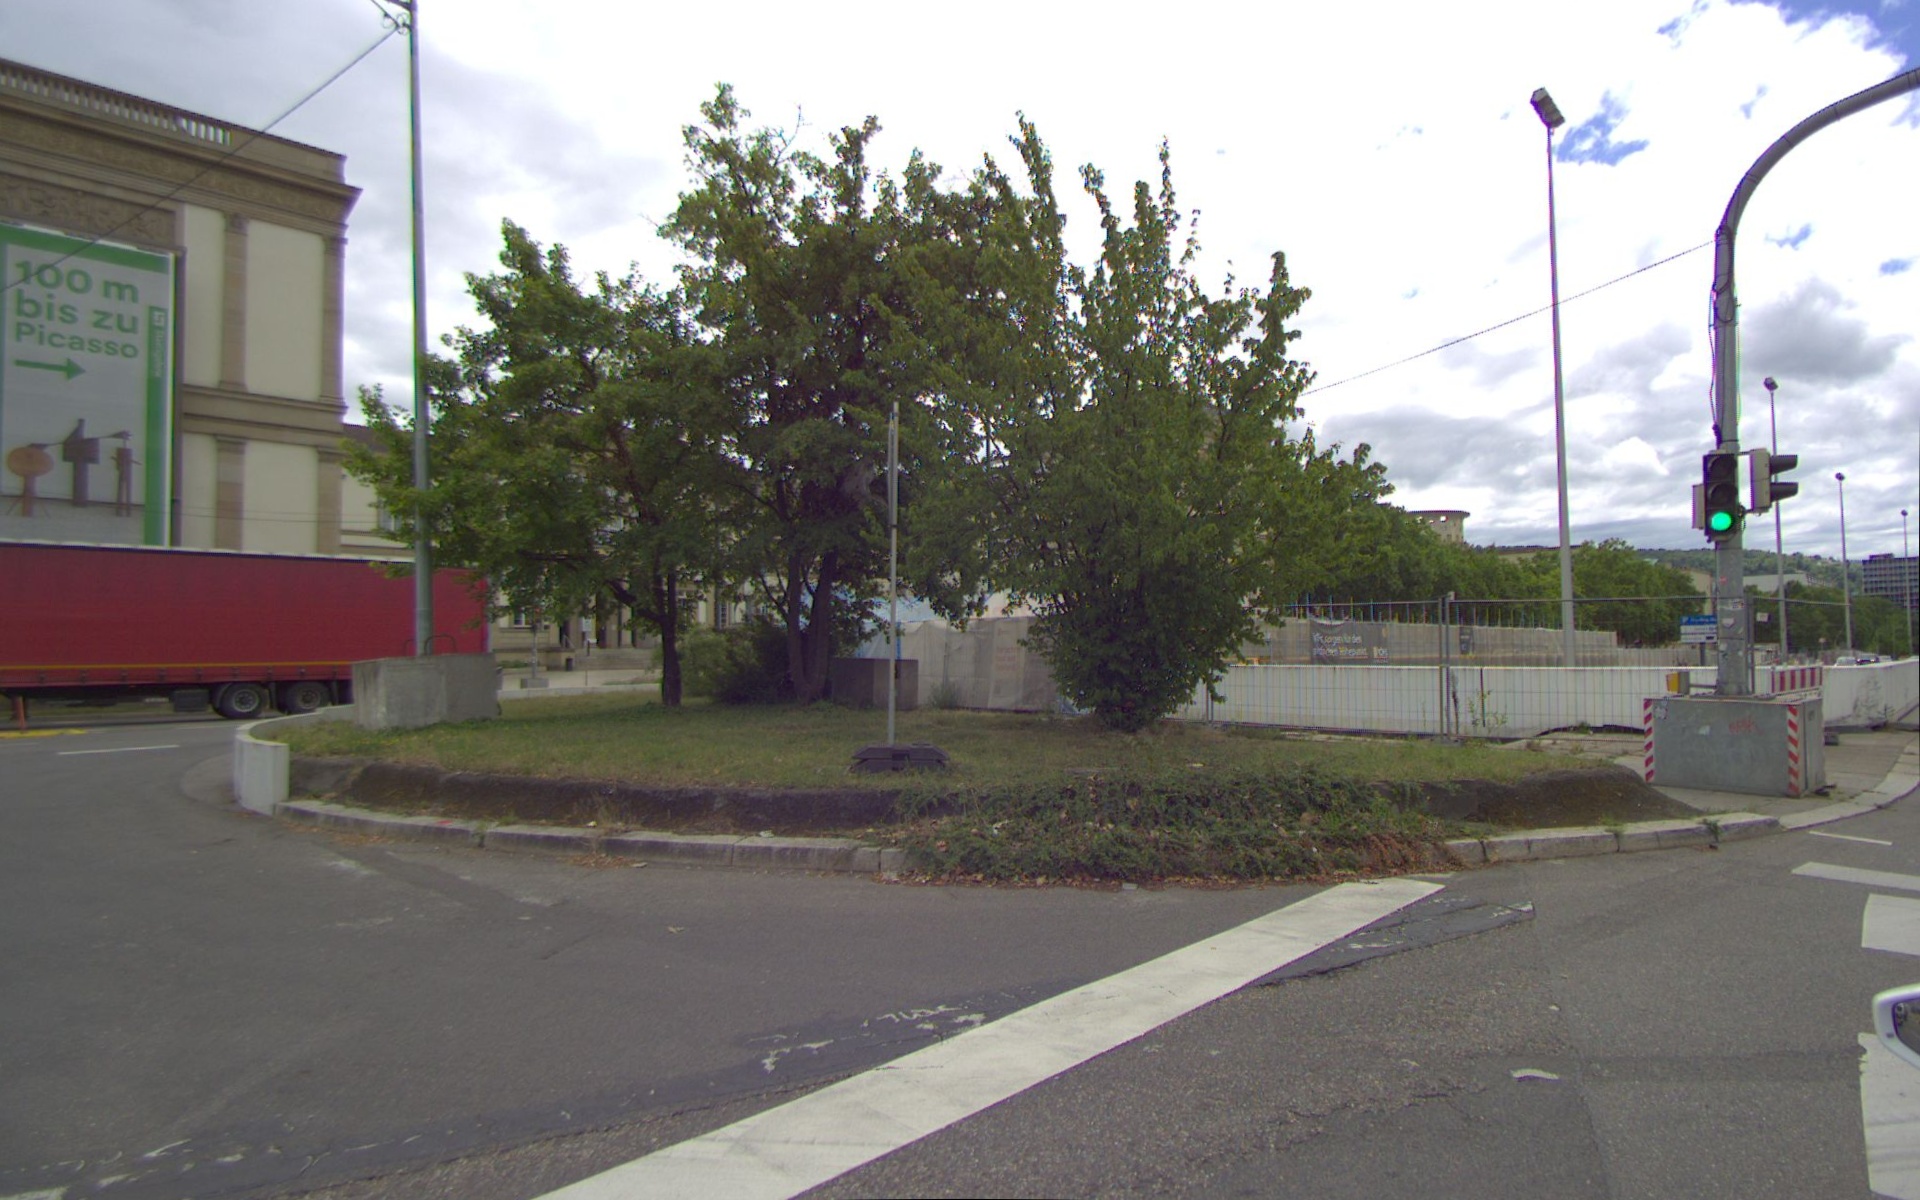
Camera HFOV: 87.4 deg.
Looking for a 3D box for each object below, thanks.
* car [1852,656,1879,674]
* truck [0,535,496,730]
[{"bbox_3d":[103.673,7.431,114.999,3.974,2.040,1.974,1,-4,-45],"label":"car"},{"bbox_3d":[-20.008,0.844,23.603,16.493,4.135,2.892,2,-5,-43],"label":"truck"}]
